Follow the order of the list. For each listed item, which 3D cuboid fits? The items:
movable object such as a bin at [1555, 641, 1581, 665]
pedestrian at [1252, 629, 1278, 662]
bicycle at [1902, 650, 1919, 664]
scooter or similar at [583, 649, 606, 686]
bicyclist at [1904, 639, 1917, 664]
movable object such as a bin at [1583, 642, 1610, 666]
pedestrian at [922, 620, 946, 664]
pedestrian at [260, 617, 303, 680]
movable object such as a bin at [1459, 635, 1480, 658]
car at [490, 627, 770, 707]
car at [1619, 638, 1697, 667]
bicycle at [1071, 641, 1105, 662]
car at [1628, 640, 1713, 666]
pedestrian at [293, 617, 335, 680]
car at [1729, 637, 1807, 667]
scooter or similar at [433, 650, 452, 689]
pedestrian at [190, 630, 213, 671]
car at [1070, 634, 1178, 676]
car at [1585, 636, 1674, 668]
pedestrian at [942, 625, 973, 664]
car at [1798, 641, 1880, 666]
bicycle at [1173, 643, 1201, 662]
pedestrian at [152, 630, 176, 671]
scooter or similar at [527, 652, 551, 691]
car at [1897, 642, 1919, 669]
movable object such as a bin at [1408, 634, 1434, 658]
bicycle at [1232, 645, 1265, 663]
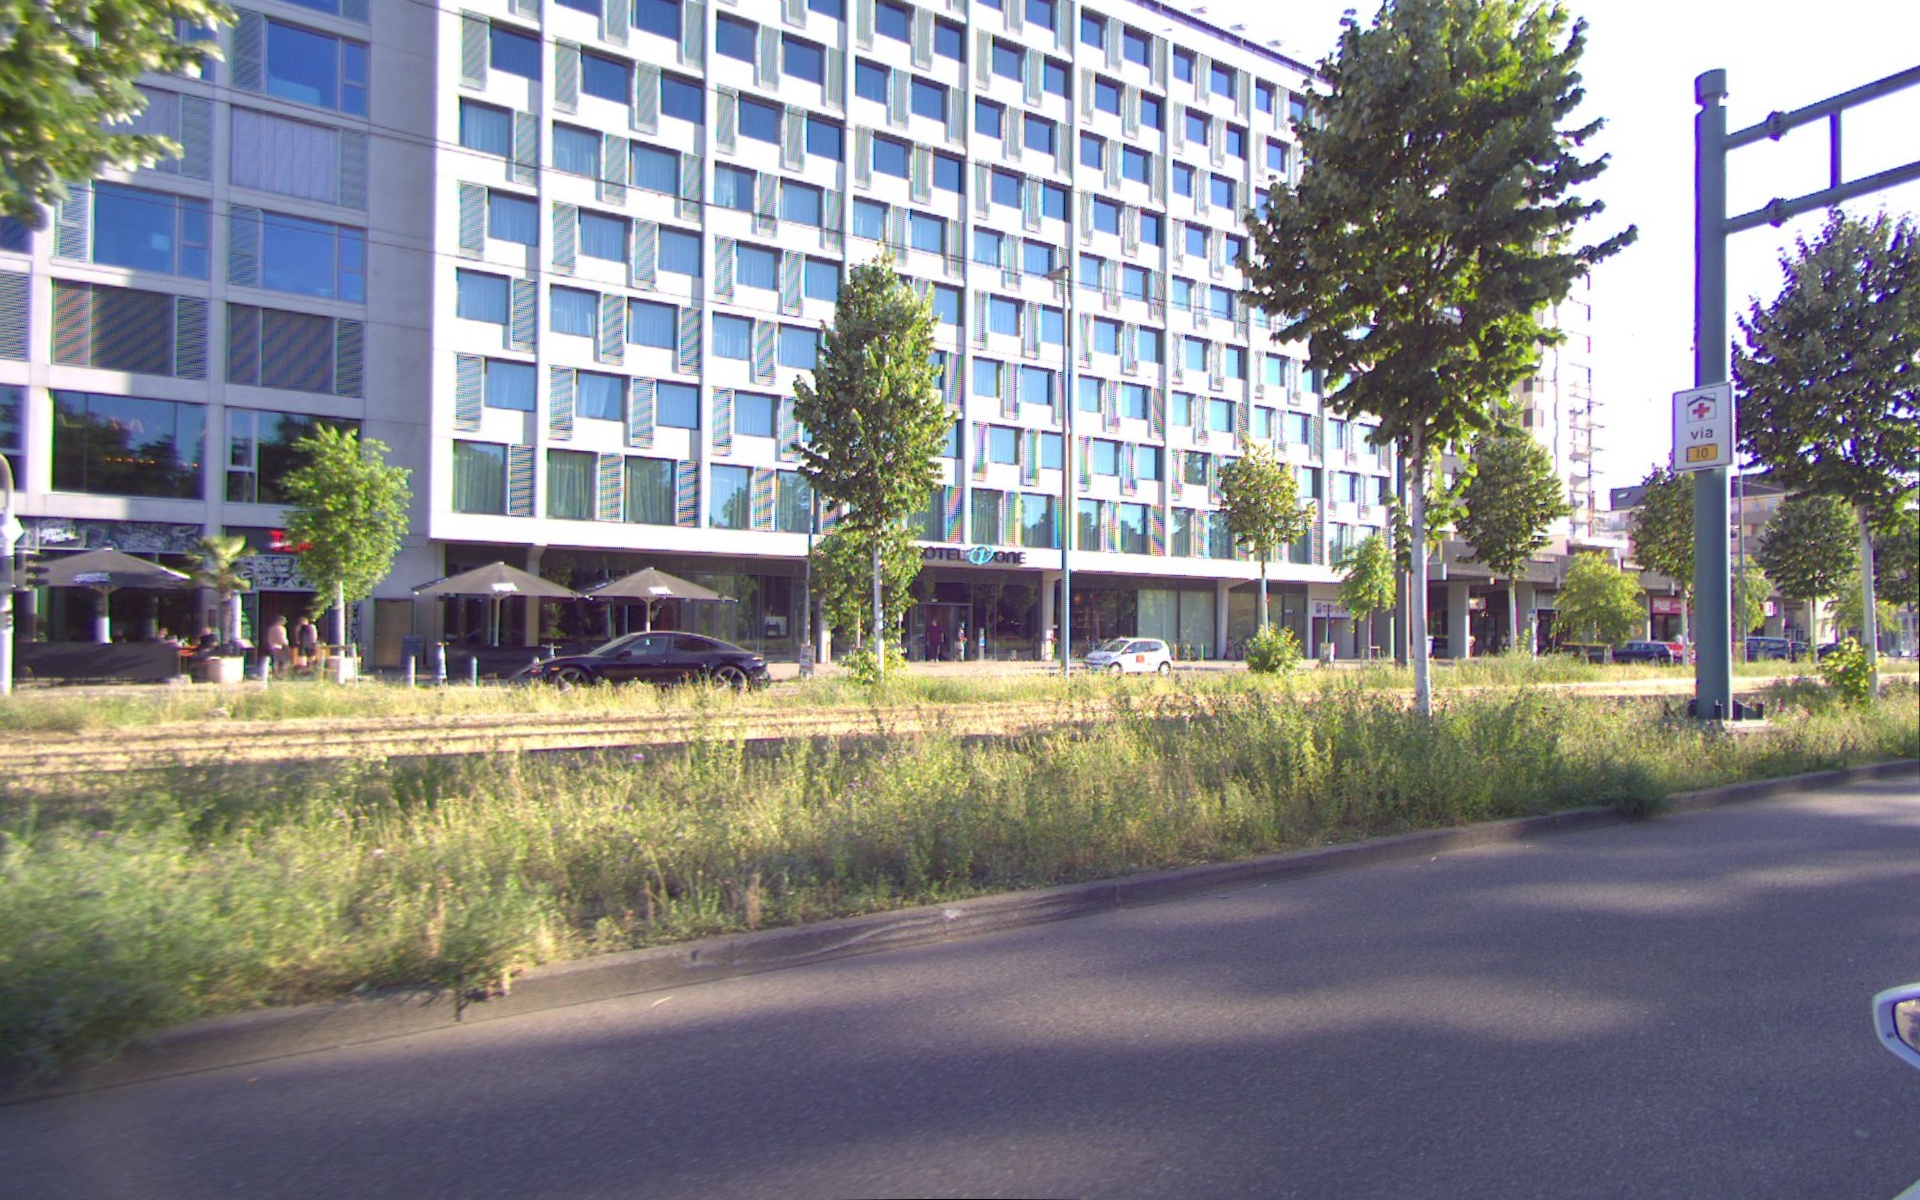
[{"bbox_3d":[34.577,3.018,57.111,0.924,1.375,0.858,1,-2,-16],"label":"movable object such as a bin"},{"bbox_3d":[15.480,2.292,50.991,0.958,1.675,0.840,1,-2,-29],"label":"pedestrian"},{"bbox_3d":[70.349,4.222,74.361,1.693,1.006,0.541,2,0,-33],"label":"bicycle"},{"bbox_3d":[-10.628,1.949,29.195,0.429,1.032,1.238,1,-2,-29],"label":"scooter or similar"},{"bbox_3d":[70.315,3.807,74.318,0.849,1.812,0.537,1,0,-33],"label":"bicyclist"},{"bbox_3d":[35.526,3.028,56.070,0.924,1.297,0.858,1,-2,-16],"label":"movable object such as a bin"},{"bbox_3d":[-1.163,1.868,44.835,0.959,1.895,0.973,0,-1,6],"label":"pedestrian"},{"bbox_3d":[-19.162,1.359,28.375,0.791,1.744,0.868,1,-1,-21],"label":"pedestrian"},{"bbox_3d":[31.570,2.884,62.268,0.858,1.389,0.818,1,-2,-30],"label":"movable object such as a bin"},{"bbox_3d":[-6.256,1.216,19.231,4.795,1.361,1.882,2,-2,-31],"label":"car"},{"bbox_3d":[42.555,3.181,61.327,3.554,1.543,1.621,2,0,19],"label":"car"},{"bbox_3d":[6.070,2.442,47.717,0.507,0.917,1.792,2,-2,-36],"label":"bicycle"},{"bbox_3d":[44.501,3.311,62.977,3.919,1.472,1.788,1,0,12],"label":"car"},{"bbox_3d":[-18.450,1.378,28.709,0.791,1.744,0.868,1,-1,-21],"label":"pedestrian"},{"bbox_3d":[54.382,3.488,67.698,3.685,1.853,1.825,1,0,20],"label":"car"},{"bbox_3d":[-14.181,1.891,27.520,0.401,1.019,1.238,1,-2,-29],"label":"scooter or similar"},{"bbox_3d":[-23.376,1.547,30.970,0.491,1.238,0.429,1,-2,-30],"label":"pedestrian"},{"bbox_3d":[6.416,2.122,39.157,3.825,1.512,1.878,1,-1,-29],"label":"car"},{"bbox_3d":[39.599,3.074,59.521,4.015,1.622,1.750,2,1,19],"label":"car"},{"bbox_3d":[-0.098,1.964,44.723,1.045,1.692,0.972,1,-2,-29],"label":"pedestrian"},{"bbox_3d":[63.103,3.800,72.205,3.920,1.584,2.000,1,0,18],"label":"car"},{"bbox_3d":[11.339,2.610,50.264,0.504,0.917,1.802,1,-2,-19],"label":"bicycle"},{"bbox_3d":[-24.209,1.524,30.550,0.491,1.238,0.429,1,-2,-30],"label":"pedestrian"},{"bbox_3d":[-11.913,2.010,28.399,0.504,1.032,1.238,1,-2,-29],"label":"scooter or similar"},{"bbox_3d":[63.490,3.615,65.642,5.026,1.711,1.878,1,-1,-29],"label":"car"},{"bbox_3d":[27.656,2.755,60.282,1.386,1.459,0.796,1,-2,-30],"label":"movable object such as a bin"},{"bbox_3d":[15.194,2.817,52.871,0.506,0.917,1.794,2,-2,-32],"label":"bicycle"}]
